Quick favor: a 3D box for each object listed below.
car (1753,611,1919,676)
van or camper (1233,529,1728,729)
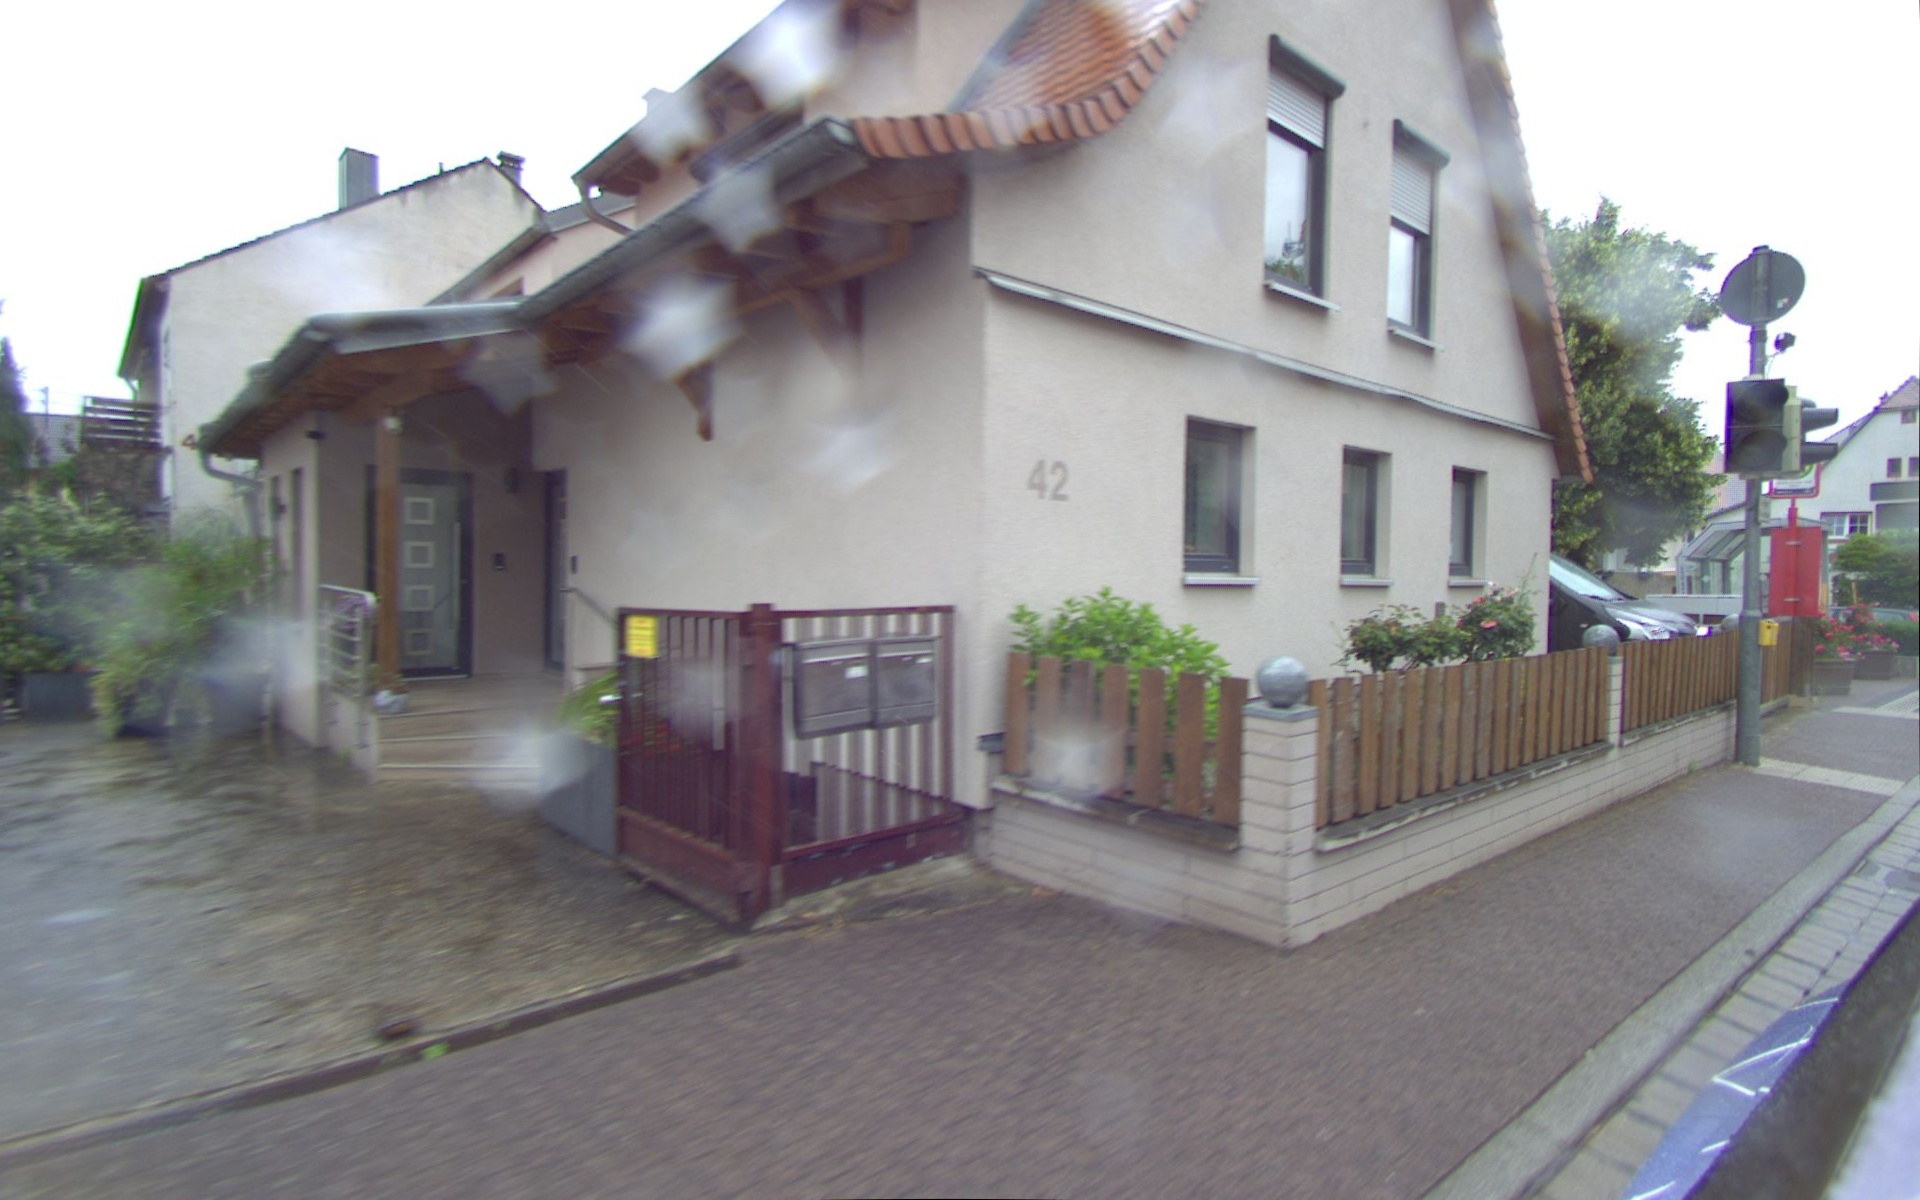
[{"bbox_3d":[24.308,1.127,27.311,1.660,1.499,4.250,1,1,-25],"label":"car"},{"bbox_3d":[6.048,0.291,12.357,1.844,1.947,5.074,1,-1,-43],"label":"van or camper"}]
